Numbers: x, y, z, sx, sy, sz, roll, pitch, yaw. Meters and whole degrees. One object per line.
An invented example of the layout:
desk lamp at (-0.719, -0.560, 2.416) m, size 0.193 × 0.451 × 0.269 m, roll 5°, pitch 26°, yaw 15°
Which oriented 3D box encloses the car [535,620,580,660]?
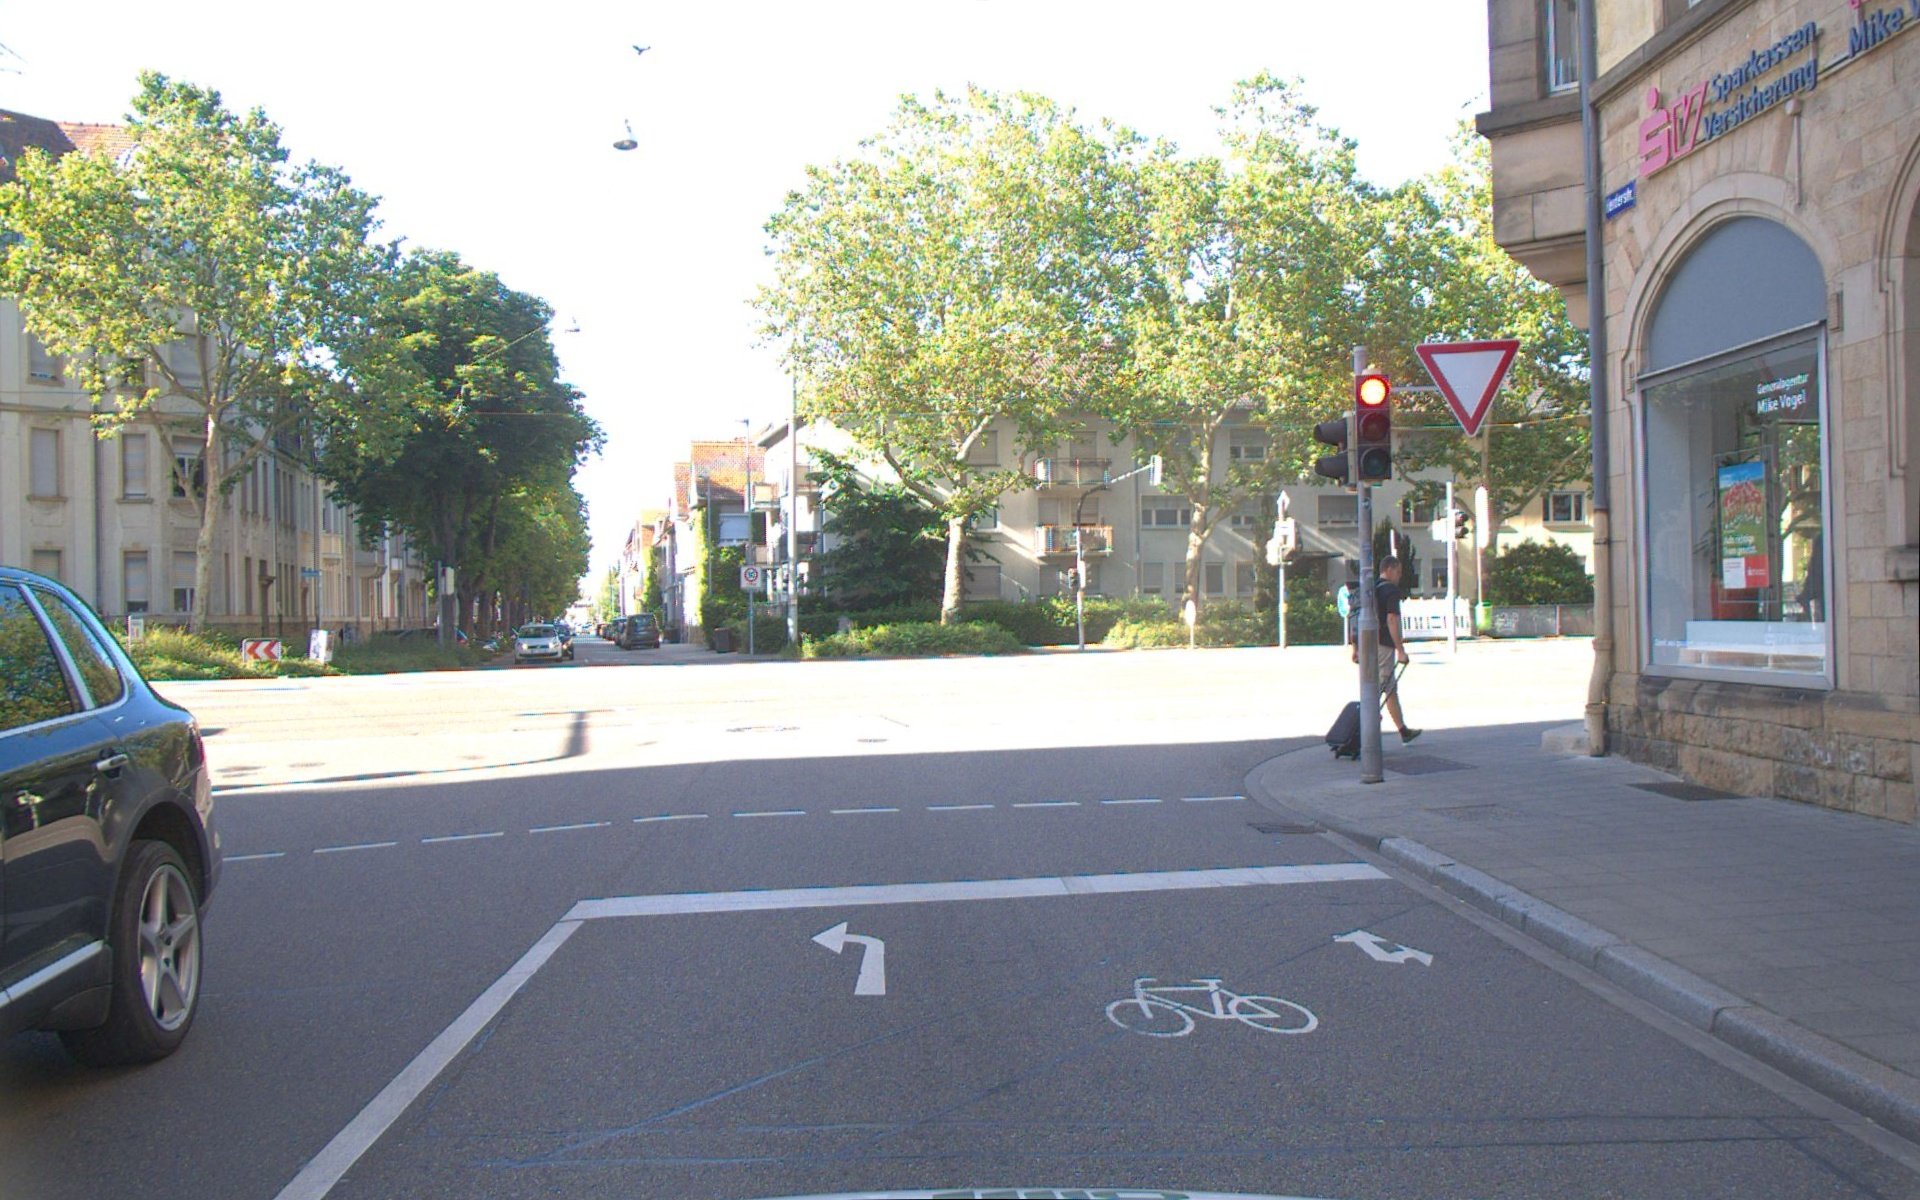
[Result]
car at (-16.792, 1.653, 69.165) m, size 1.669 × 1.509 × 3.523 m, roll -3°, pitch 1°, yaw -12°

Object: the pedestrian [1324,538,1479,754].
pedestrian at (4.095, 0.413, 15.382) m, size 1.050 × 1.880 × 0.745 m, roll -4°, pitch 1°, yaw -19°

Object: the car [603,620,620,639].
car at (-37.942, 3.238, 180.184) m, size 1.742 × 1.952 × 3.523 m, roll -3°, pitch 1°, yaw -12°

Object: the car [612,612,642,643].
car at (-23.142, 1.902, 115.025) m, size 1.958 × 2.049 × 3.988 m, roll 1°, pitch 0°, yaw -12°

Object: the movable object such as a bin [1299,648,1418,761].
movable object such as a bin at (3.570, 0.928, 14.844) m, size 0.847 × 0.907 × 0.508 m, roll -4°, pitch 1°, yaw -13°

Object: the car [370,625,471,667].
car at (-20.452, 1.735, 62.806) m, size 3.572 × 1.483 × 1.650 m, roll -1°, pitch 0°, yaw -16°

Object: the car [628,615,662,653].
car at (-17.984, 1.912, 94.217) m, size 1.742 × 1.952 × 3.523 m, roll -3°, pitch 1°, yaw -12°

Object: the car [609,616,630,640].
car at (-30.052, 2.438, 145.935) m, size 1.742 × 1.952 × 3.523 m, roll -3°, pitch 1°, yaw -12°

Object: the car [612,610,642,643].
car at (-21.018, 1.647, 104.290) m, size 1.742 × 1.952 × 3.523 m, roll -3°, pitch 1°, yaw -12°

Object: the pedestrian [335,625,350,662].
pedestrian at (-24.929, 1.746, 66.804) m, size 0.480 × 1.467 × 0.702 m, roll 1°, pitch -1°, yaw -16°

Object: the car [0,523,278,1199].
car at (-3.483, 0.729, 4.030) m, size 2.033 × 1.723 × 4.702 m, roll -4°, pitch -1°, yaw -6°

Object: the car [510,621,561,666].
car at (-16.173, 1.635, 63.078) m, size 1.669 × 1.509 × 3.523 m, roll -3°, pitch 1°, yaw -12°
